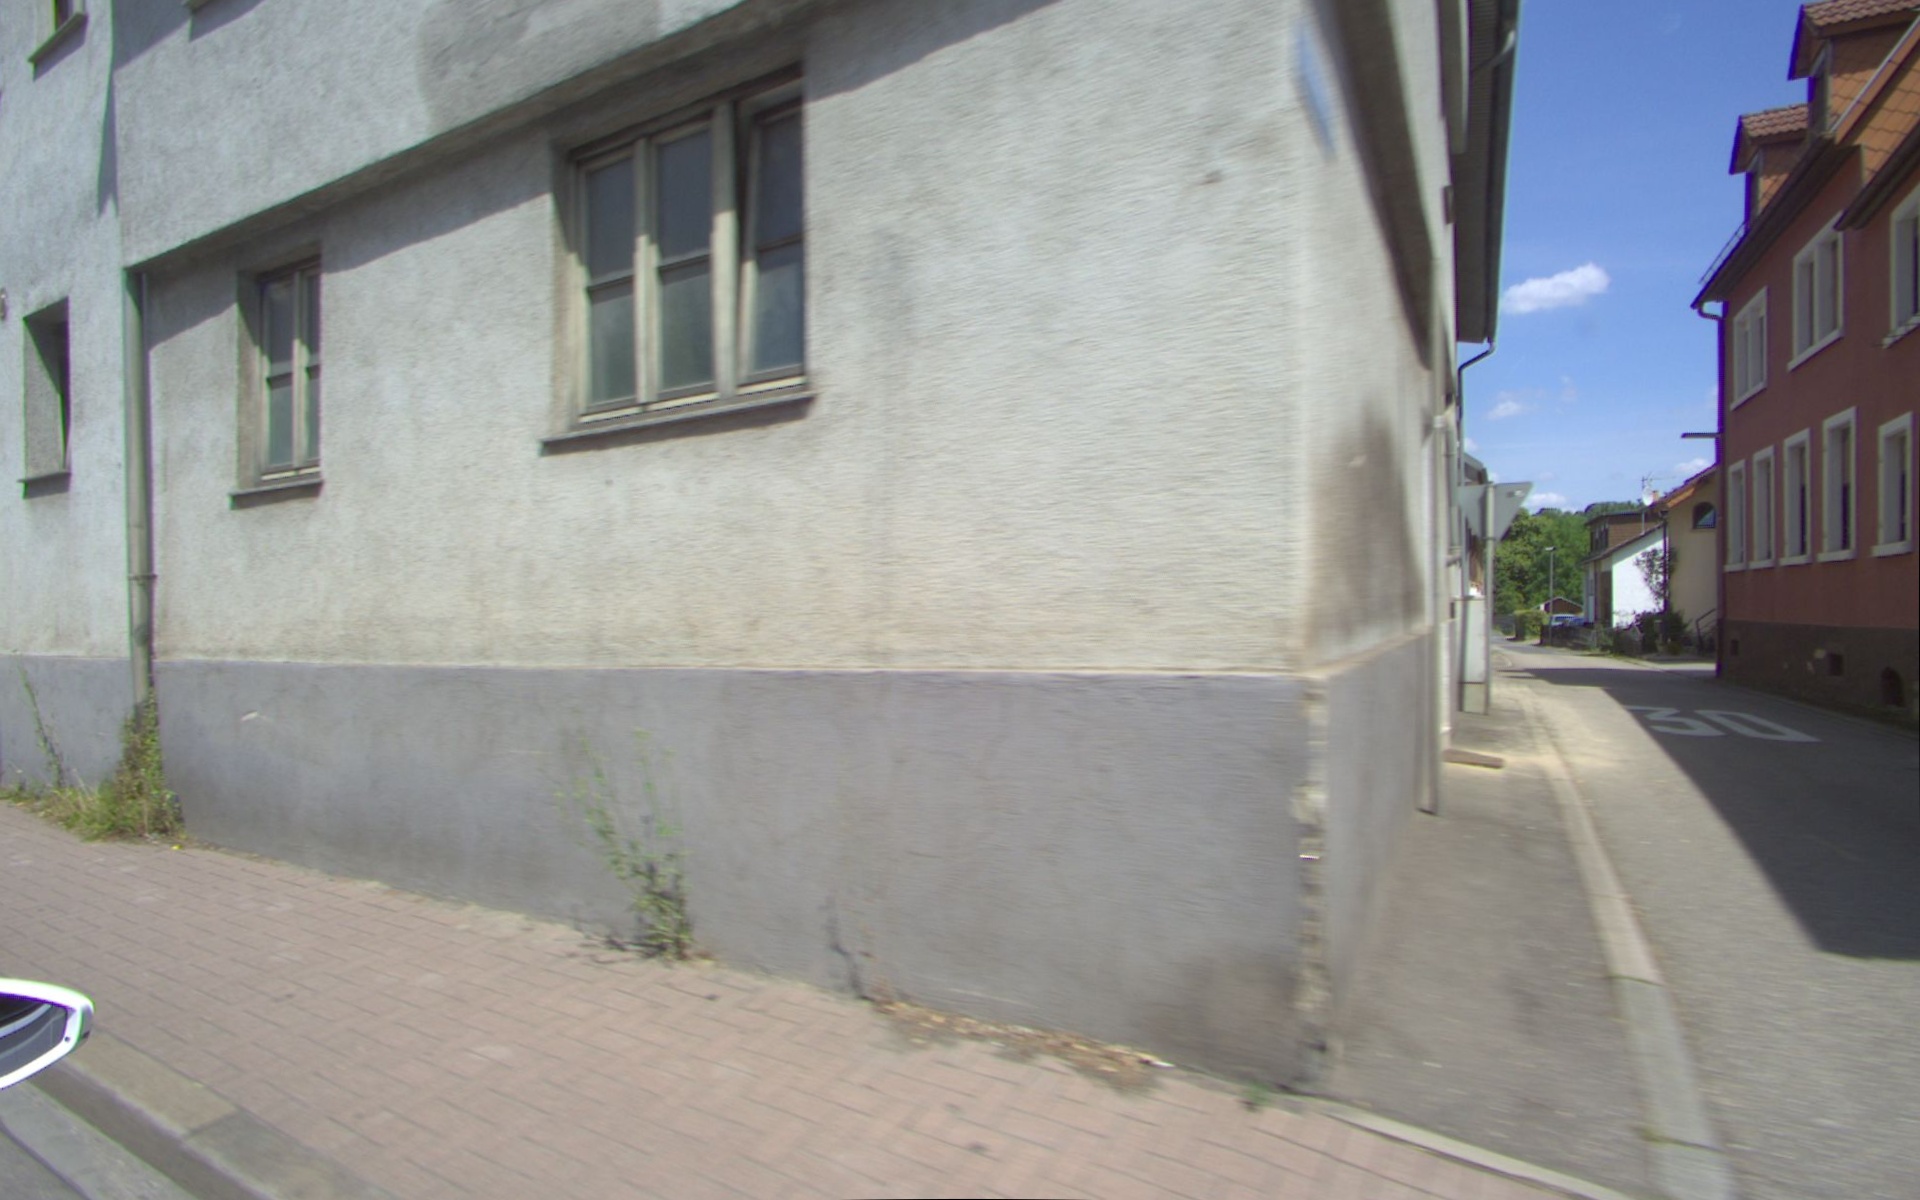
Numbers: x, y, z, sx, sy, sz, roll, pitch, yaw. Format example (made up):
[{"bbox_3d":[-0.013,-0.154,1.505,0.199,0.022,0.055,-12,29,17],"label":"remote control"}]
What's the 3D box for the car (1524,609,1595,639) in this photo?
[{"bbox_3d":[39.901,1.583,66.793,3.938,1.973,1.992,-1,-1,28],"label":"car"}]
